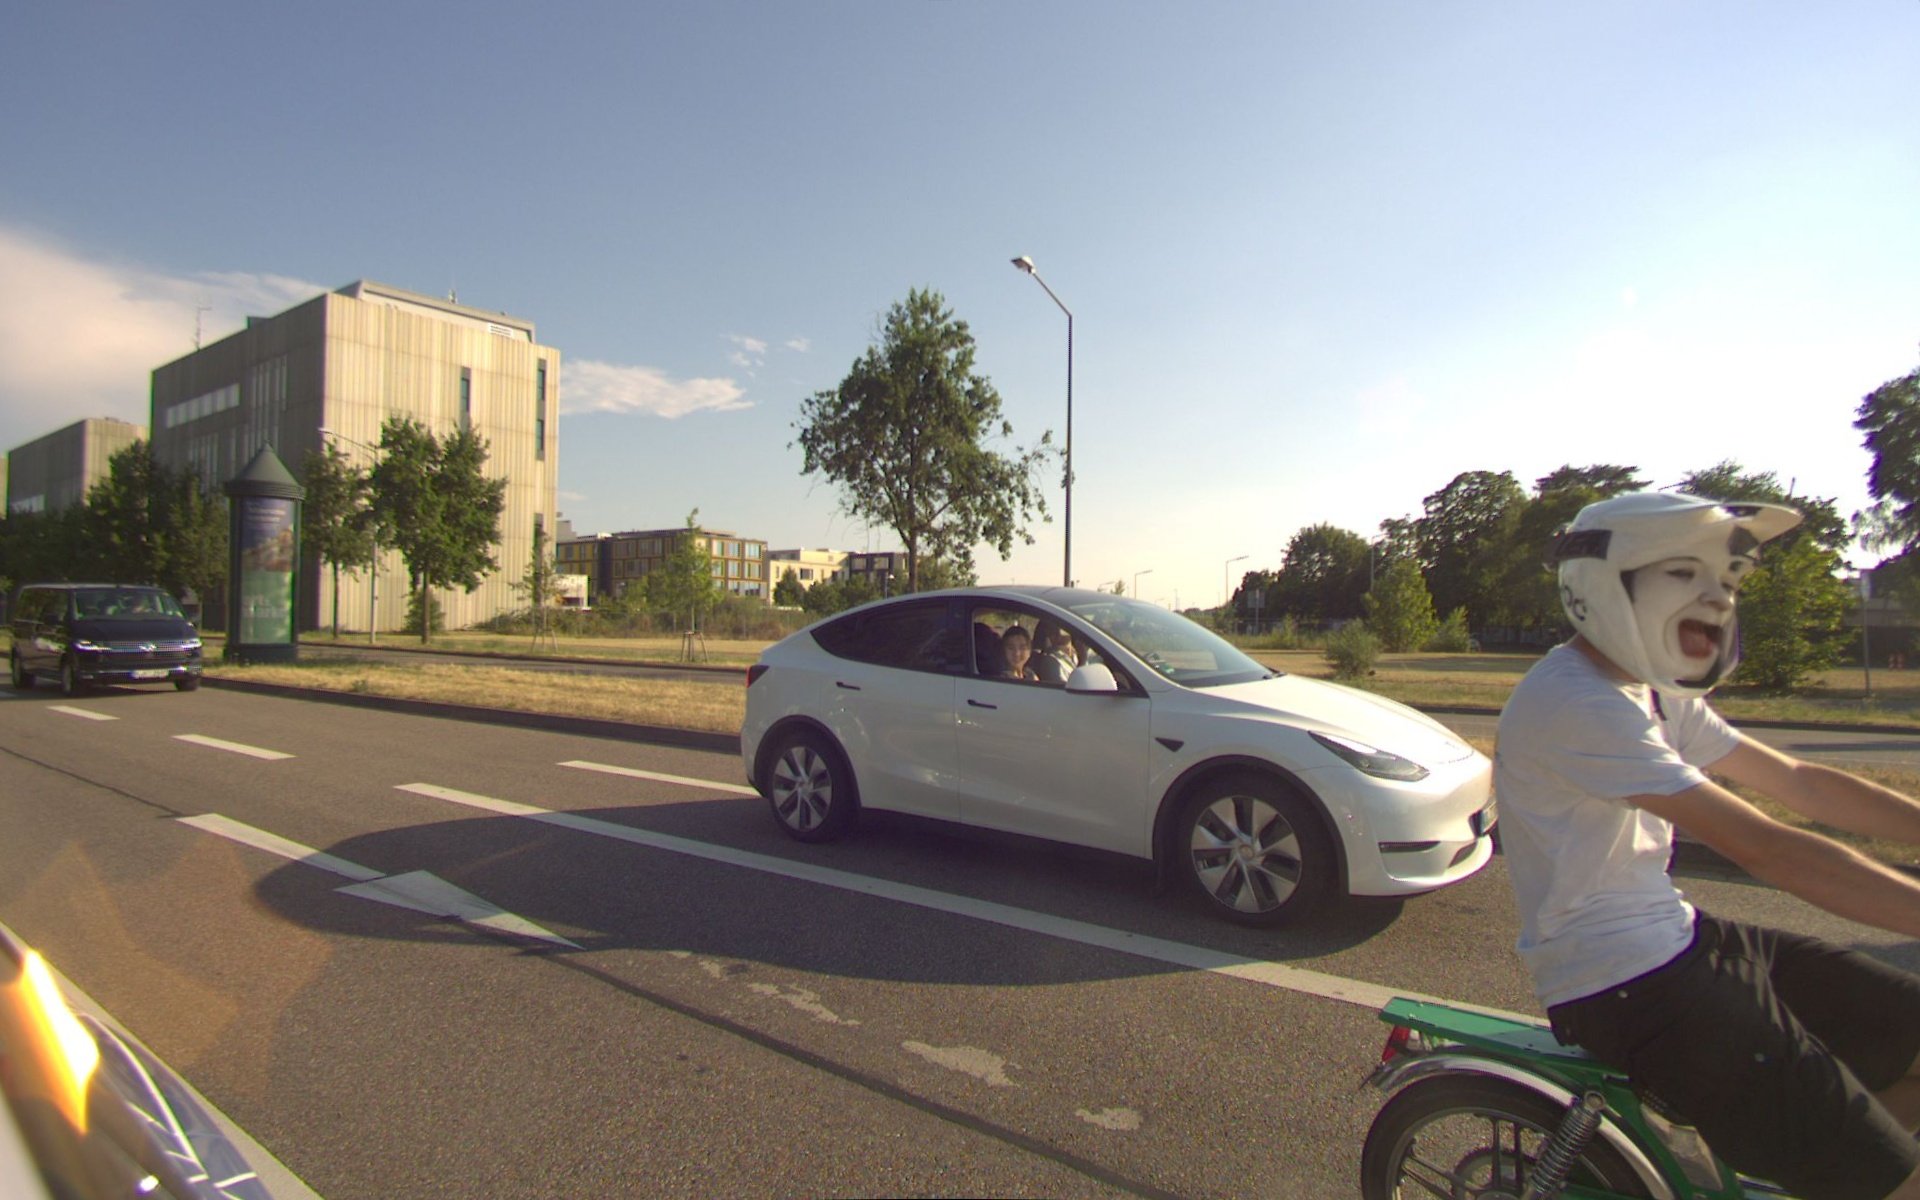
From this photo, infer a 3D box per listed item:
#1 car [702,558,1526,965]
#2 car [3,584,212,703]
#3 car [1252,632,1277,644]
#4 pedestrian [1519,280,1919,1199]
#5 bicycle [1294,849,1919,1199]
[{"bbox_3d":[0.637,0.675,6.114,4.669,1.611,1.719,-1,-1,37],"label":"car"},{"bbox_3d":[-15.892,0.728,18.780,5.003,1.947,1.839,-1,-1,36],"label":"car"},{"bbox_3d":[31.912,3.987,106.074,1.315,1.302,2.810,1,-2,-10],"label":"car"},{"bbox_3d":[1.421,0.360,1.555,0.854,1.530,0.649,-1,-3,41],"label":"pedestrian"},{"bbox_3d":[1.462,0.966,1.416,1.855,0.882,0.472,-1,-3,41],"label":"bicycle"}]
